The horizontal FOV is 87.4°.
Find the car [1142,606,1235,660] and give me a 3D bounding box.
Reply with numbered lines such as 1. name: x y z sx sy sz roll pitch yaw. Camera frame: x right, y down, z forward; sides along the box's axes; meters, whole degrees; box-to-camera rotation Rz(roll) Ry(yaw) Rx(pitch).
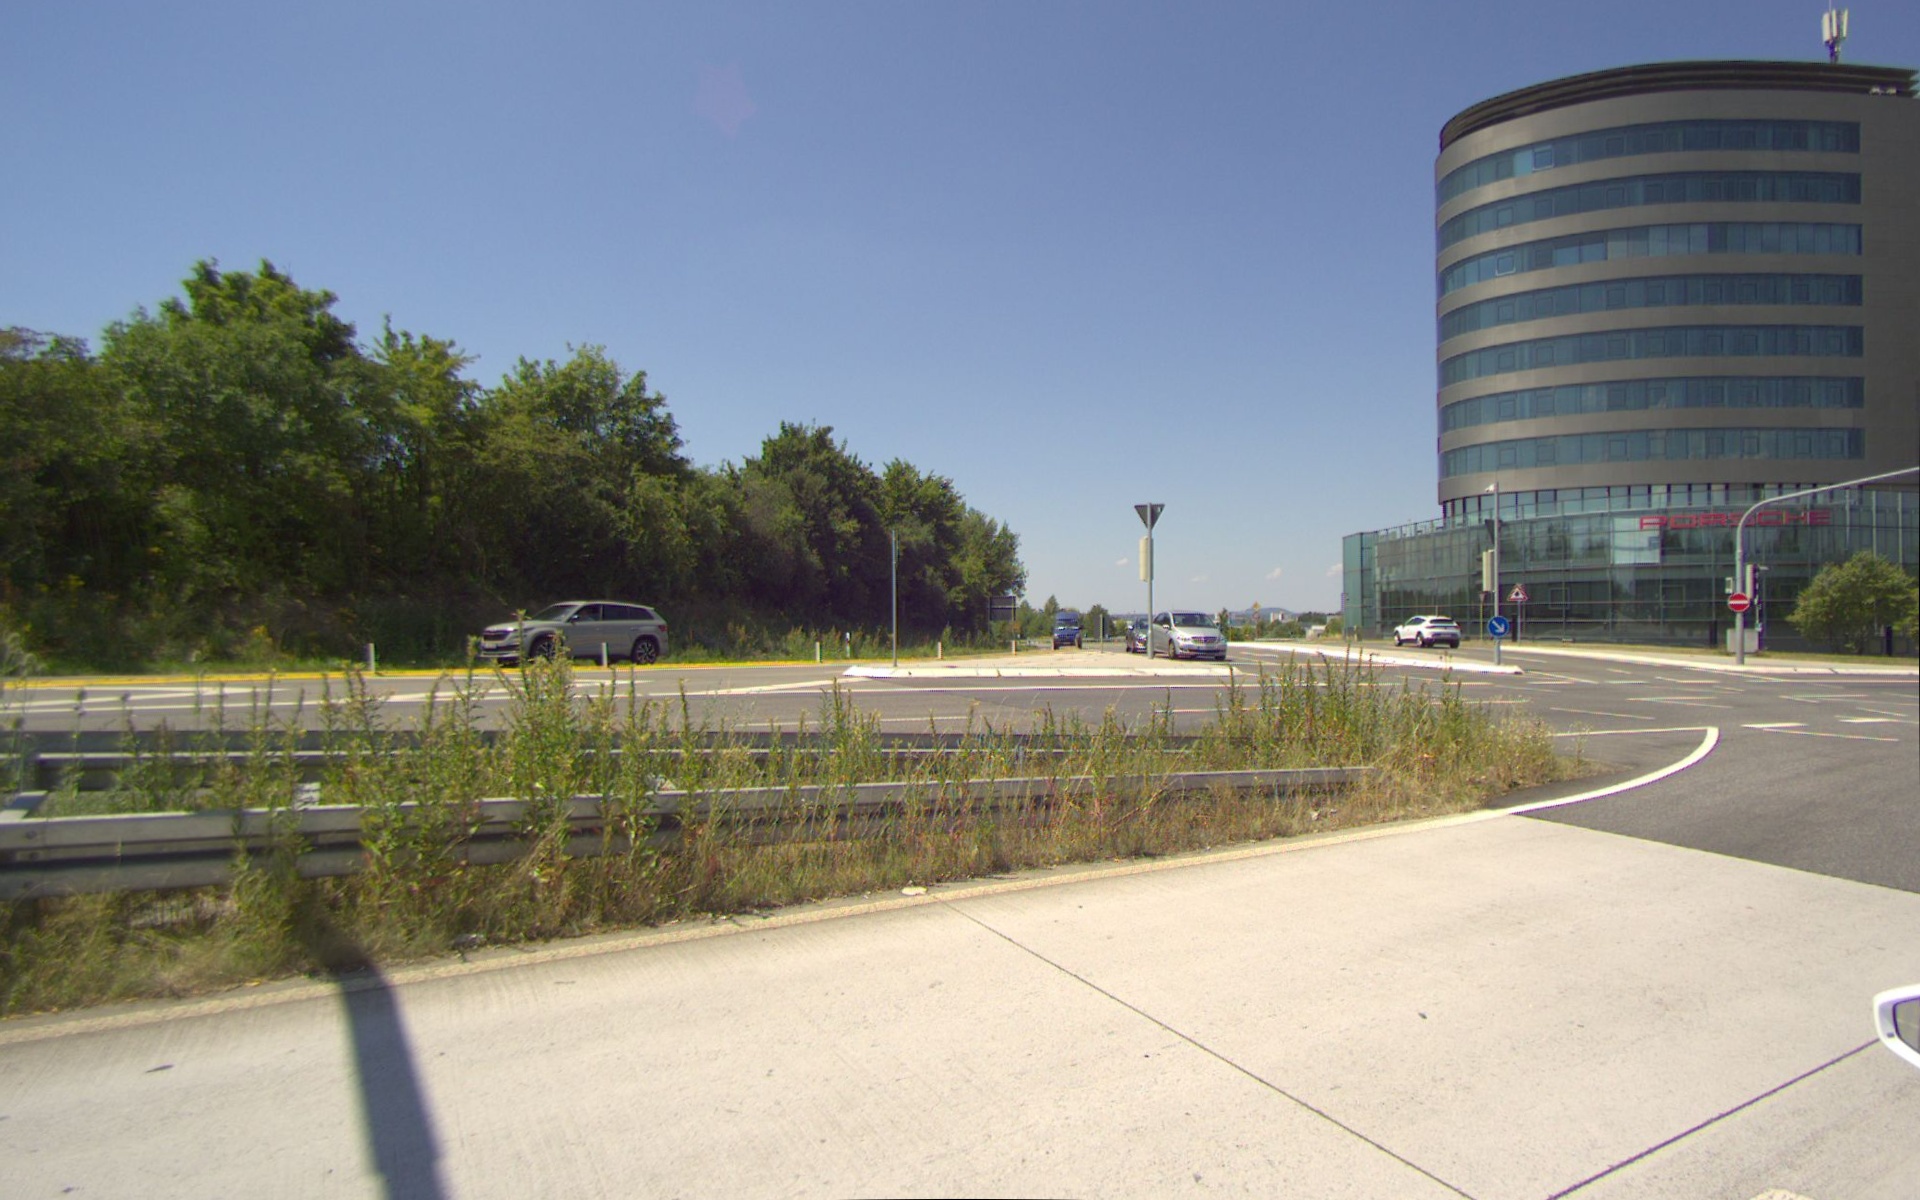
1. car: 7.475 1.108 33.323 1.743 1.616 4.327 2 -2 -5

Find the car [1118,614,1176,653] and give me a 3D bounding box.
1. car: 7.637 1.411 41.359 1.663 1.475 4.331 2 -2 2

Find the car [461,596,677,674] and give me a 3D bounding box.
1. car: -9.497 0.831 24.759 1.967 1.715 4.642 1 -1 35

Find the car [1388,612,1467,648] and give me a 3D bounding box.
1. car: 22.521 1.426 48.558 1.773 1.577 3.999 2 0 -2

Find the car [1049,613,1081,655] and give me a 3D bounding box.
1. car: 7.538 2.360 71.603 2.024 2.740 5.900 2 0 8
